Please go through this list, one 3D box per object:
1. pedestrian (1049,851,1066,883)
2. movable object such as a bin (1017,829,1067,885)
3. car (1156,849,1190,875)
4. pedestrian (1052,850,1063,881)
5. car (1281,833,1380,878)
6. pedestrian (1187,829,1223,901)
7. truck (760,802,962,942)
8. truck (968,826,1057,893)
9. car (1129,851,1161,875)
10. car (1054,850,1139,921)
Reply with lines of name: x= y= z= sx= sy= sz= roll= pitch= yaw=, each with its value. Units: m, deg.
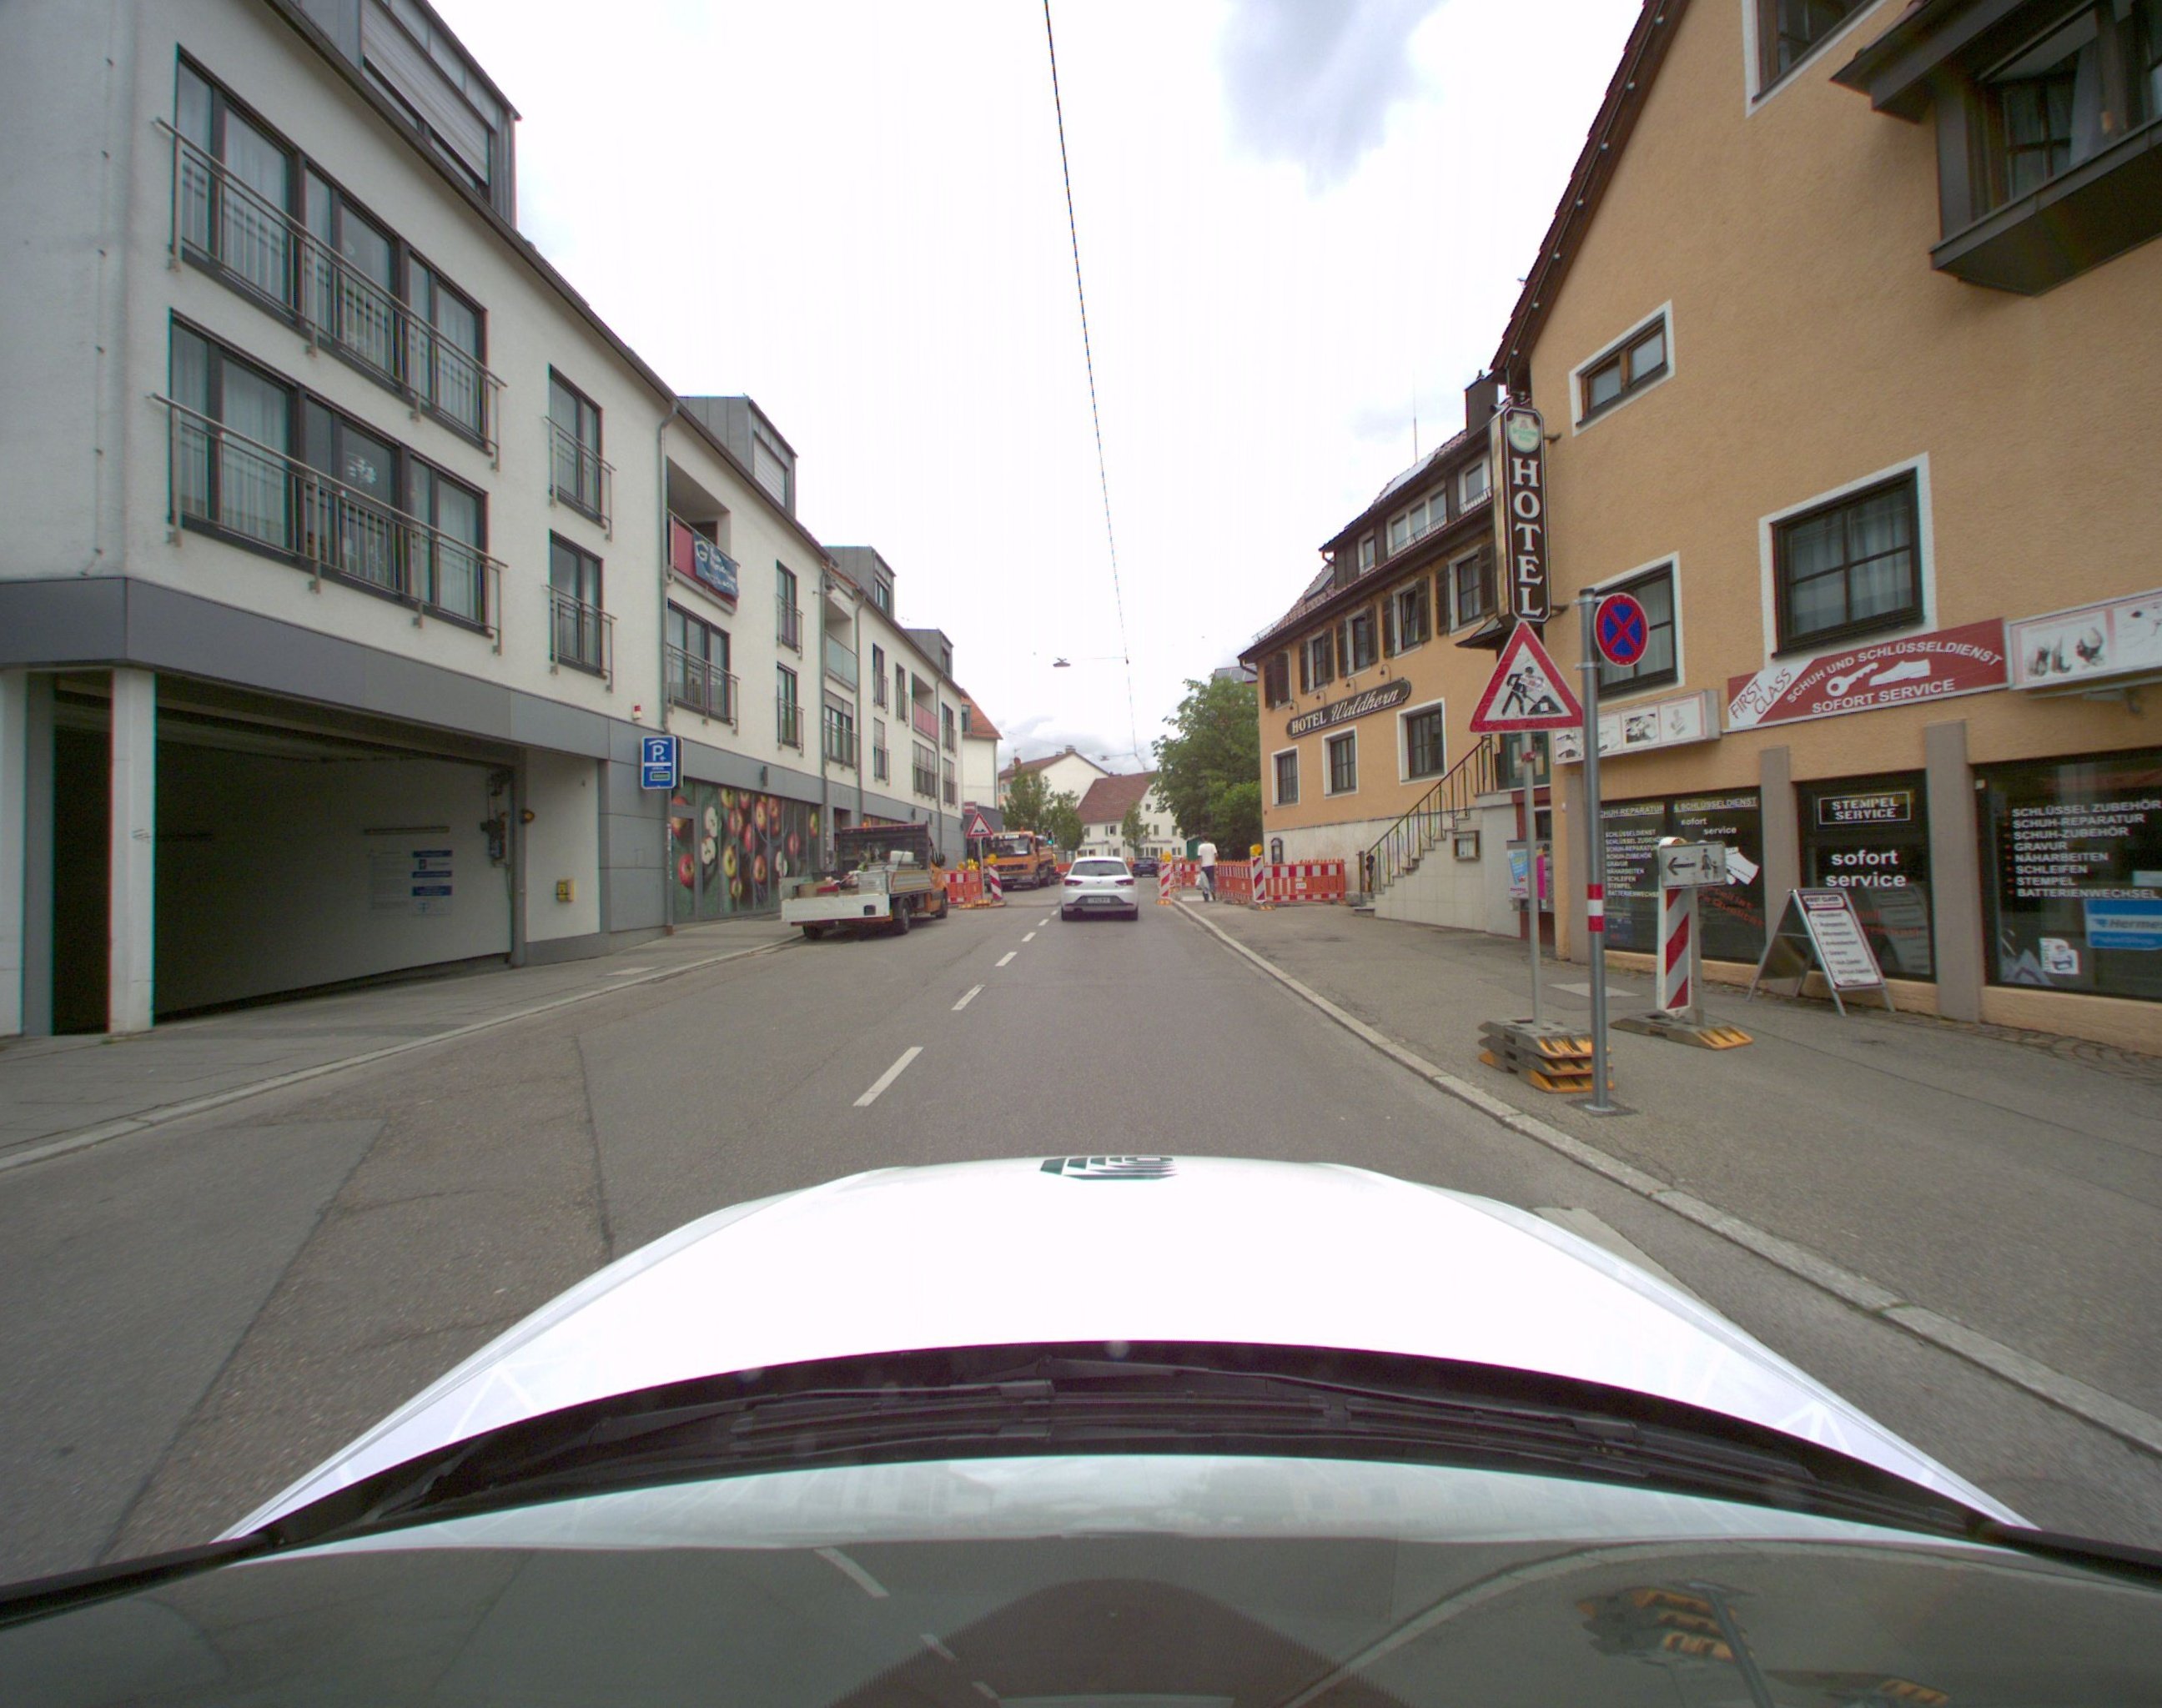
pedestrian: x=-1.383 y=0.750 z=47.439 sx=0.809 sy=1.816 sz=0.745 roll=-2 pitch=0 yaw=9
movable object such as a bin: x=-2.033 y=0.195 z=43.776 sx=1.829 sy=2.763 sz=4.515 roll=-2 pitch=-1 yaw=8
car: x=7.532 y=0.646 z=66.304 sx=1.978 sy=2.014 sz=4.017 roll=-2 pitch=-1 yaw=16
pedestrian: x=-1.366 y=0.676 z=47.358 sx=0.534 sy=1.744 sz=0.445 roll=-2 pitch=-1 yaw=10
car: x=12.250 y=0.087 z=40.017 sx=4.173 sy=2.033 sz=2.013 roll=-2 pitch=0 yaw=33
pedestrian: x=3.462 y=0.305 z=22.764 sx=0.795 sy=1.950 sz=0.836 roll=-2 pitch=0 yaw=0
truck: x=-4.493 y=0.302 z=18.081 sx=2.404 sy=2.465 sz=6.312 roll=-2 pitch=0 yaw=3
truck: x=-3.018 y=0.208 z=37.777 sx=2.717 sy=2.725 sz=6.860 roll=-2 pitch=0 yaw=6
car: x=4.375 y=0.573 z=55.422 sx=1.800 sy=1.480 sz=3.881 roll=-2 pitch=0 yaw=10
car: x=0.437 y=0.663 z=19.456 sx=1.804 sy=1.480 sz=3.873 roll=-1 pitch=0 yaw=3
